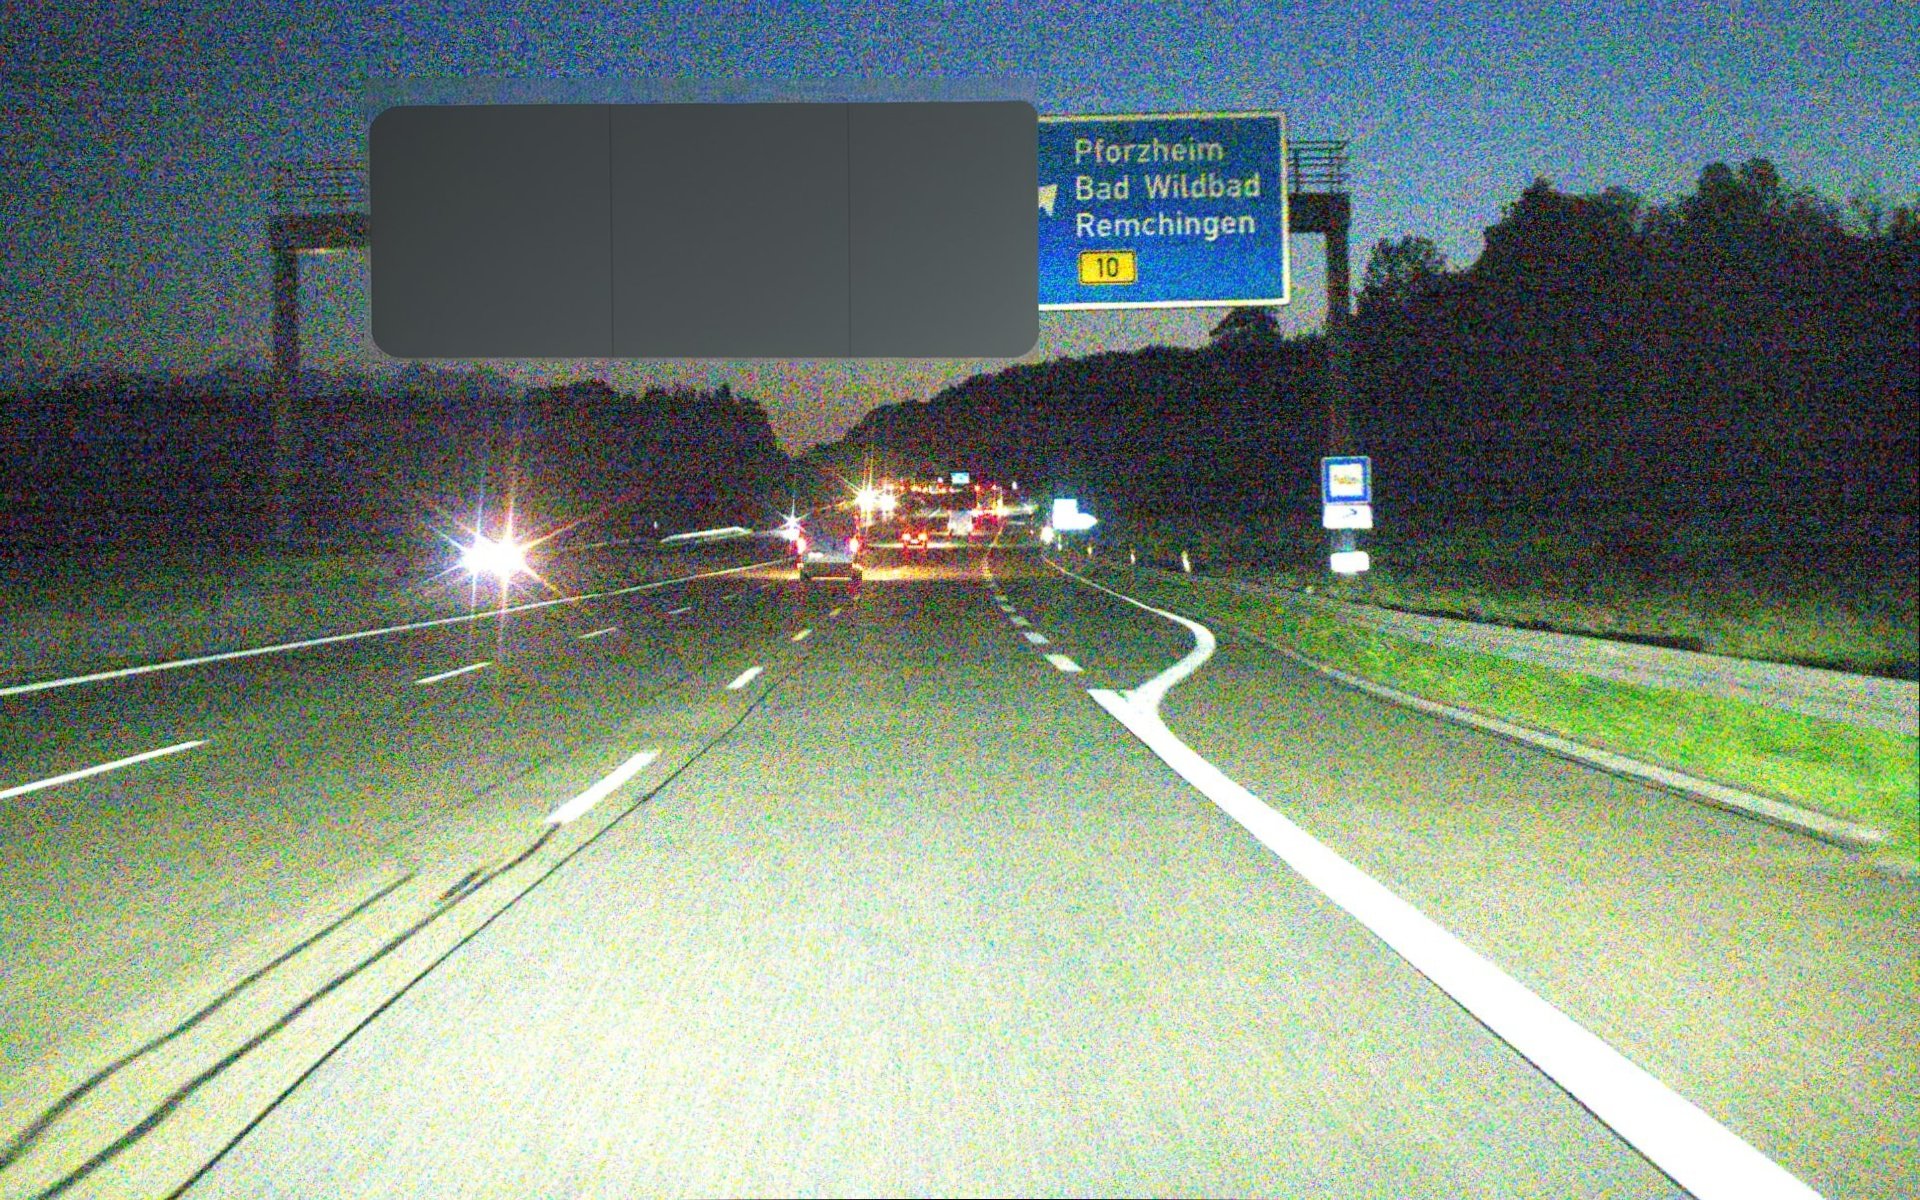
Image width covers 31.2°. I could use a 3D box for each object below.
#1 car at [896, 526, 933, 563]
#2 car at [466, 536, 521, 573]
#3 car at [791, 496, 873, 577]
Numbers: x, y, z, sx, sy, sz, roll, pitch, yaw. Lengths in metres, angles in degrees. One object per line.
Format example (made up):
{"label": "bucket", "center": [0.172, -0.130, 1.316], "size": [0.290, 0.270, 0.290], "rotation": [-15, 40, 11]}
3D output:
{"label": "car", "center": [-3.401, -4.152, 259.045], "size": [2.786, 2.724, 6.299], "rotation": [0, 0, -1]}
{"label": "car", "center": [-22.930, -2.251, 169.125], "size": [1.993, 1.739, 5.072], "rotation": [1, 1, 0]}
{"label": "car", "center": [-4.508, -2.198, 120.557], "size": [2.786, 2.724, 6.299], "rotation": [0, 0, -2]}
